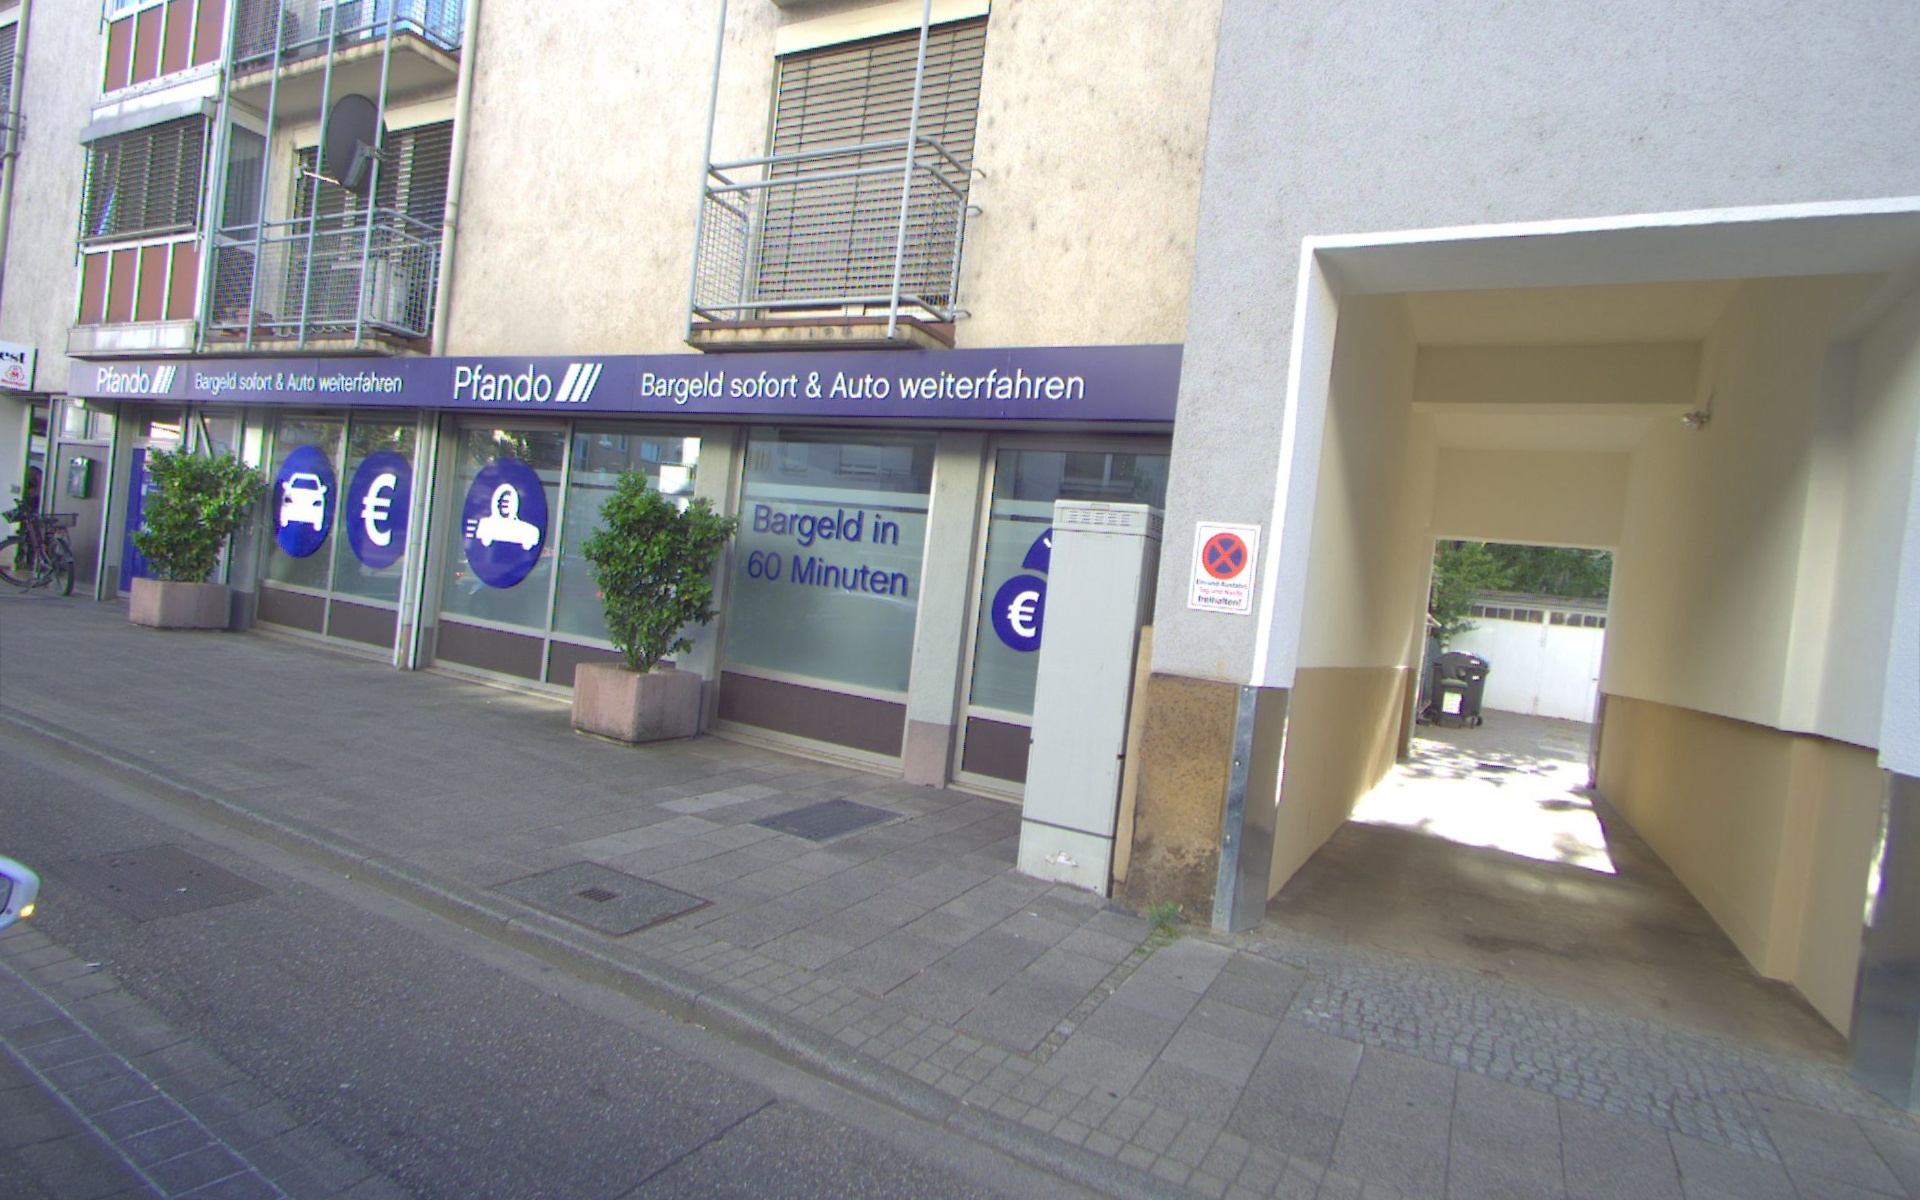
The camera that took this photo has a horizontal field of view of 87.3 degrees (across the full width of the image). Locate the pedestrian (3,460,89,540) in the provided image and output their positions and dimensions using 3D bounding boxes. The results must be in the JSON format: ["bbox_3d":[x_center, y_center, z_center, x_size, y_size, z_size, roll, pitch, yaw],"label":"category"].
[{"bbox_3d":[-14.066,-1.526,15.496,0.667,1.102,0.624,7,2,-5],"label":"pedestrian"}]

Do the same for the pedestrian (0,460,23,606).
[{"bbox_3d":[-11.153,-0.790,11.113,0.796,1.614,0.886,8,3,24],"label":"pedestrian"}]

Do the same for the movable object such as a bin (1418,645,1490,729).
[{"bbox_3d":[10.023,1.761,20.382,1.092,1.511,1.329,6,-2,30],"label":"movable object such as a bin"}]

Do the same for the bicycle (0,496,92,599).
[{"bbox_3d":[-11.857,-0.690,12.868,1.747,1.176,0.497,6,0,29],"label":"bicycle"}]
